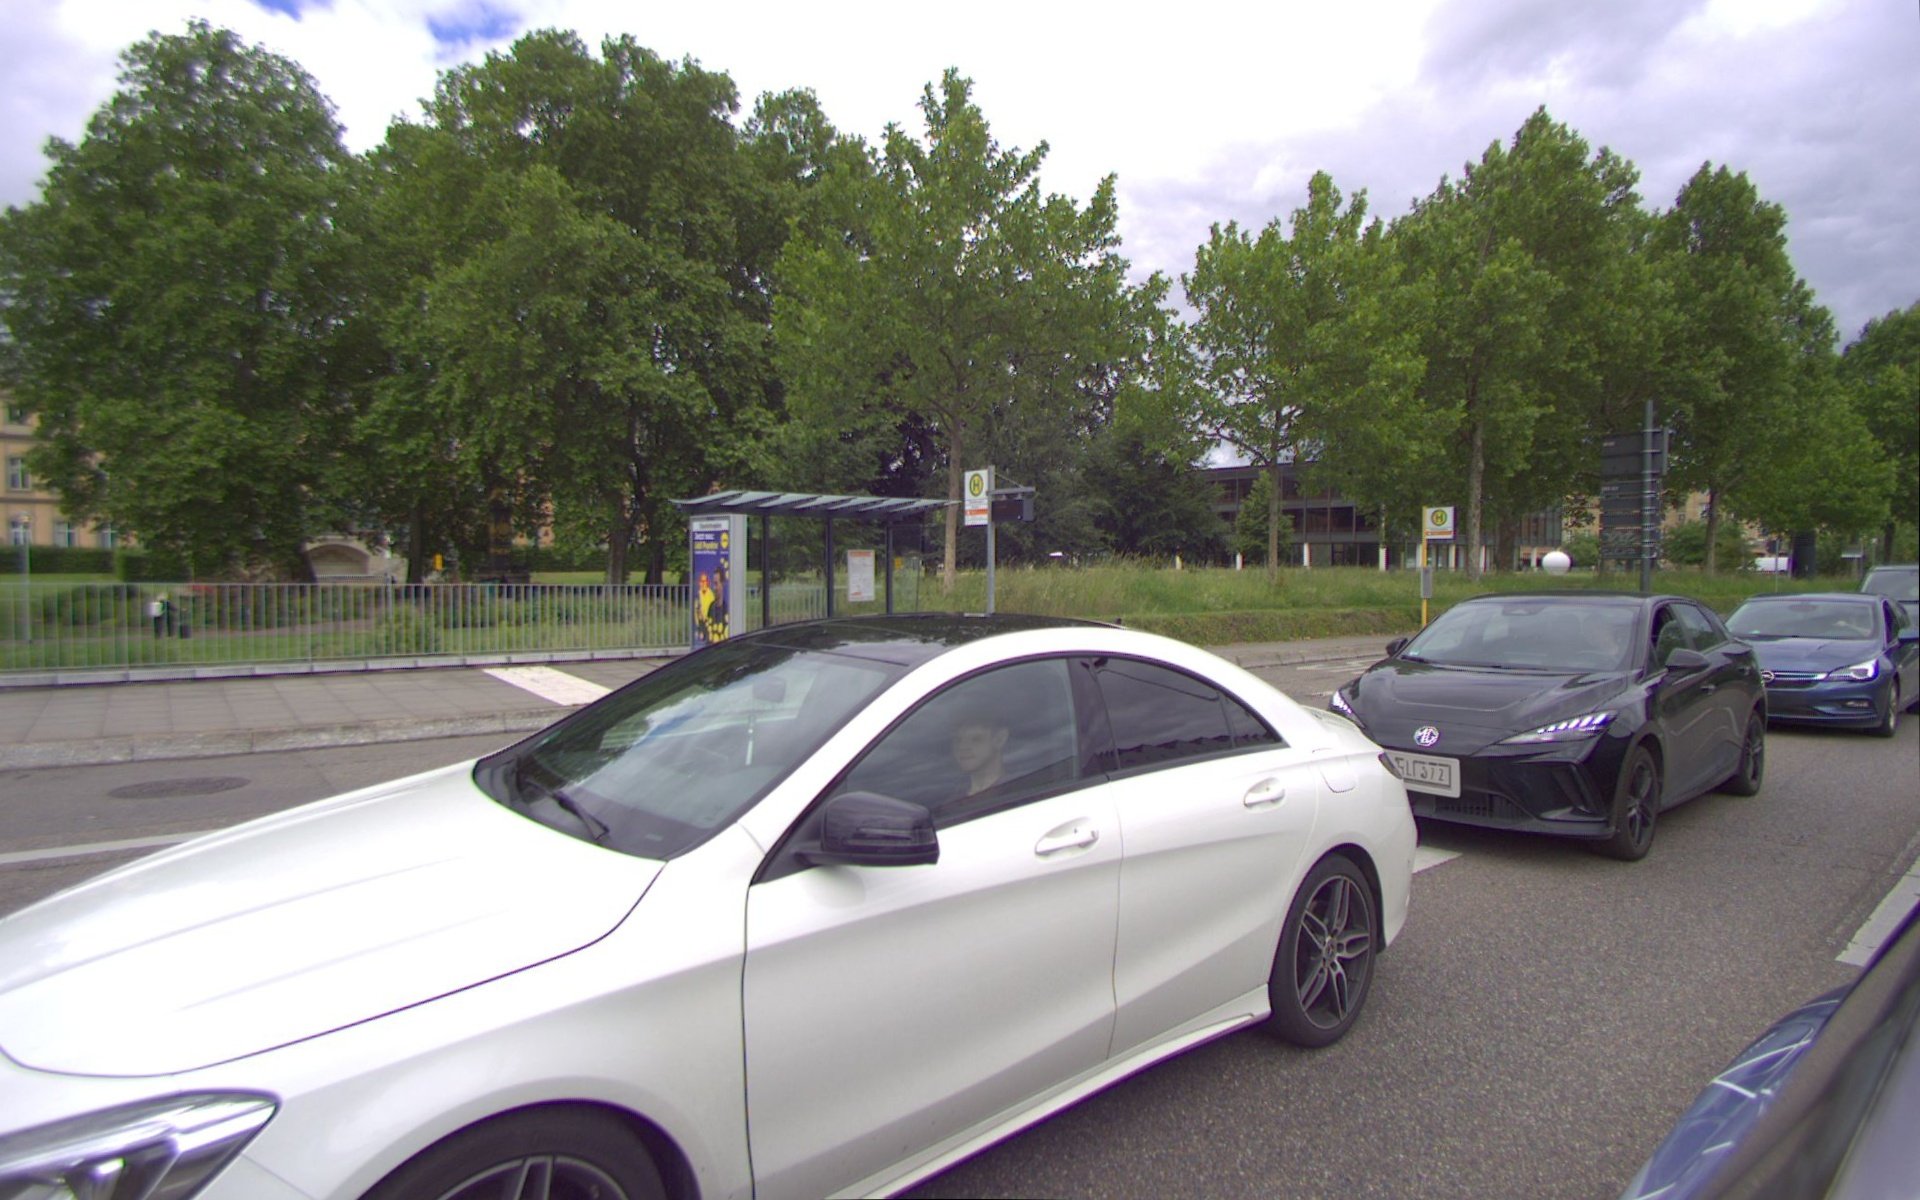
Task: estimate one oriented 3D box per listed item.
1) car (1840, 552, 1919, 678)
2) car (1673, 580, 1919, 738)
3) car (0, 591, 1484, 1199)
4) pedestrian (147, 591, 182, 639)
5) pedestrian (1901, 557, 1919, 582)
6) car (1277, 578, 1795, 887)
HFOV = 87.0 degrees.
[{"bbox_3d":[15.996,0.171,16.306,4.719,1.856,2.020,-1,2,-40],"label":"car"},{"bbox_3d":[9.788,0.518,11.489,3.944,1.452,1.804,-1,2,-40],"label":"car"},{"bbox_3d":[-0.254,0.735,3.210,4.446,1.437,1.799,-1,2,-39],"label":"car"},{"bbox_3d":[-27.135,0.500,34.534,0.674,1.621,0.654,-1,0,17],"label":"pedestrian"},{"bbox_3d":[78.959,-2.534,84.100,1.160,2.039,0.891,-2,0,-40],"label":"pedestrian"},{"bbox_3d":[4.147,0.616,7.037,4.020,1.508,1.852,-1,2,-40],"label":"car"}]
